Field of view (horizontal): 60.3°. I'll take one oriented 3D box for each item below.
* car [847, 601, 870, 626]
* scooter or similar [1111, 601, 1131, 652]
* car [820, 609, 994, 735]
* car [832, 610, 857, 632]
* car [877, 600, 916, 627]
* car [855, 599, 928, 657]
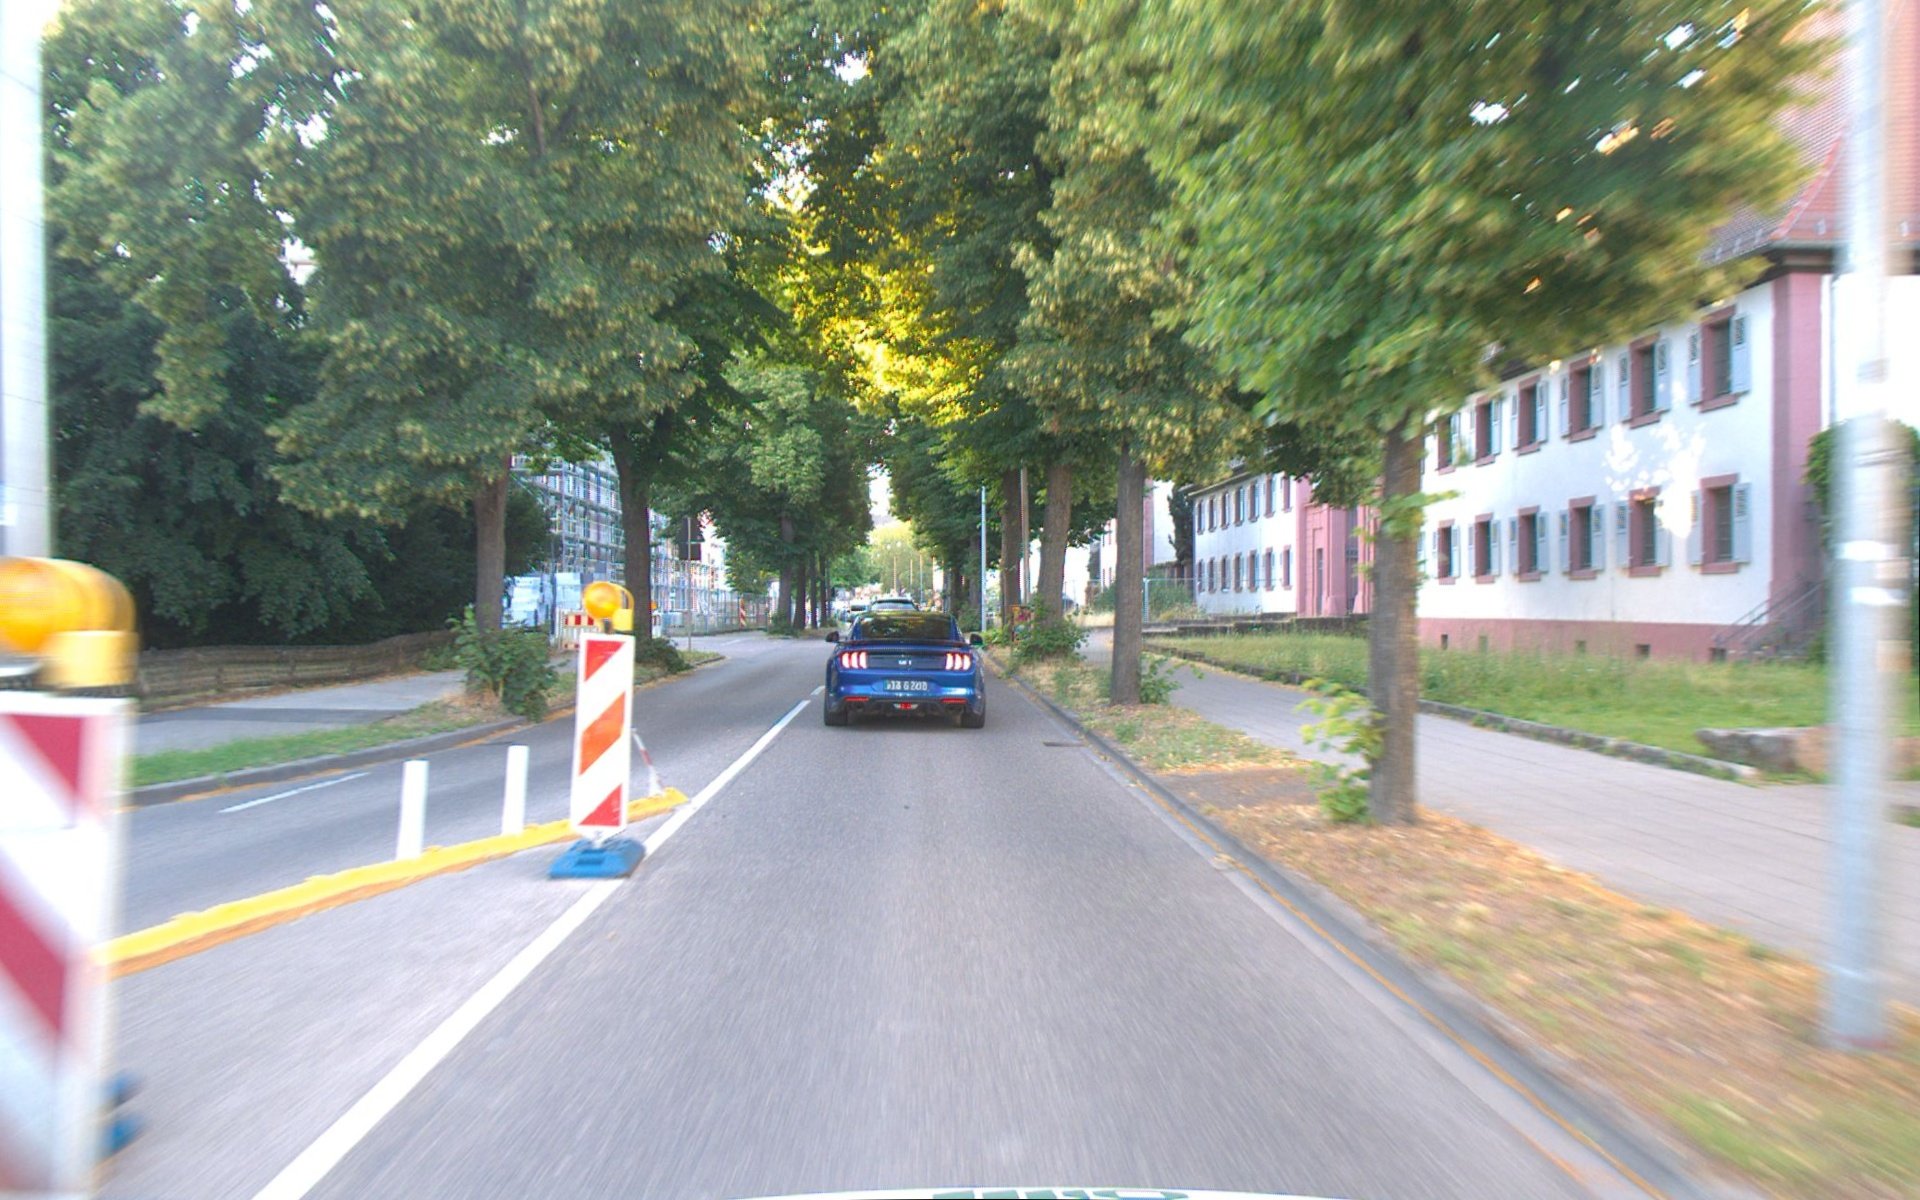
[{"bbox_3d":[-11.452,1.576,186.350,2.442,2.744,5.827,-1,-1,-3],"label":"car"},{"bbox_3d":[4.170,0.696,42.836,0.234,1.298,1.265,-1,-1,-7],"label":"scooter or similar"},{"bbox_3d":[-0.658,0.825,20.412,1.908,1.350,3.998,1,-1,-2],"label":"car"},{"bbox_3d":[-12.242,2.213,175.057,2.288,2.236,5.307,-1,-1,0],"label":"car"},{"bbox_3d":[-3.334,0.727,87.611,1.907,1.350,3.999,1,-1,0],"label":"car"},{"bbox_3d":[-1.935,0.808,47.604,1.907,1.554,3.999,1,-1,0],"label":"car"}]
